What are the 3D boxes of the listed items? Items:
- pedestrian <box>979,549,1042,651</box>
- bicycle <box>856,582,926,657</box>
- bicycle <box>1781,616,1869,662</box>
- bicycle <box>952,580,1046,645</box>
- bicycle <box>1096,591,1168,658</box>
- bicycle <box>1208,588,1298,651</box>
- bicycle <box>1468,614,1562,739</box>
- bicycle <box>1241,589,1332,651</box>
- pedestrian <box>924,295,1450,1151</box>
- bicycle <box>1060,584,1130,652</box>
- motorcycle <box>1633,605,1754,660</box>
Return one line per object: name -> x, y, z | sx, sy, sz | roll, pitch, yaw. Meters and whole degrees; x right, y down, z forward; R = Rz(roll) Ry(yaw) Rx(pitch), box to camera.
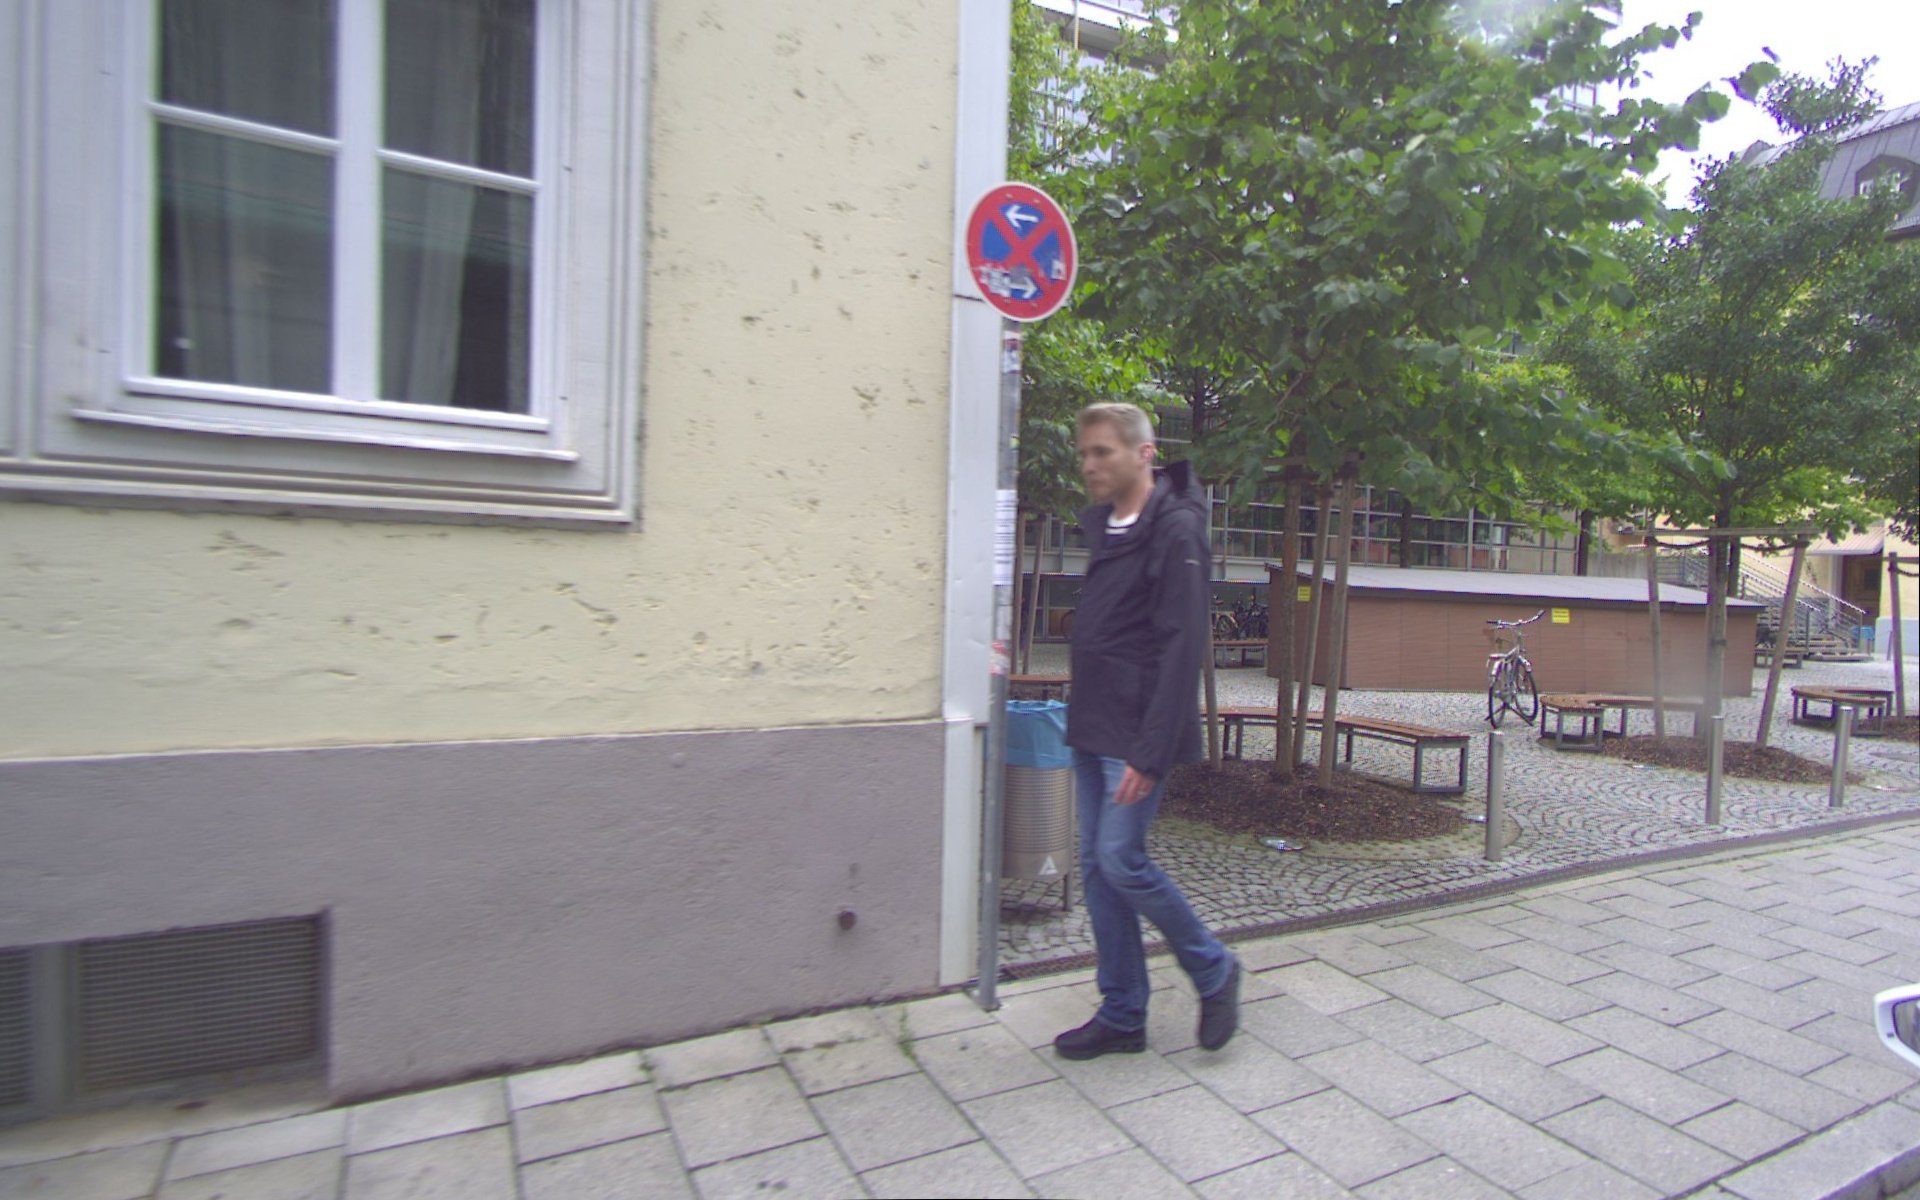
pedestrian -> 0.918, -0.007, 18.269 | 0.910, 1.801, 0.676 | 1, 2, -19
bicycle -> -1.236, 0.319, 17.678 | 0.680, 1.214, 1.773 | 1, 2, -22
bicycle -> 23.110, 1.029, 26.878 | 0.589, 1.083, 1.651 | 1, 2, -24
bicycle -> 0.778, 0.250, 19.760 | 1.757, 1.214, 0.549 | 1, 2, -23
bicycle -> 3.346, 0.456, 19.720 | 0.543, 1.214, 1.773 | 1, 2, -20
bicycle -> 5.953, 0.382, 20.540 | 0.643, 1.176, 1.985 | 1, 2, -21
bicycle -> 6.078, 0.776, 10.957 | 0.543, 1.214, 1.829 | 3, 2, 39
bicycle -> 6.759, 0.391, 20.894 | 0.643, 1.176, 1.985 | 1, 2, -21
pedestrian -> 0.617, 0.280, 2.885 | 1.121, 1.907, 0.864 | 1, 2, -29
bicycle -> 2.606, 0.326, 19.588 | 0.543, 1.214, 1.773 | 1, 2, -20
motorcycle -> 18.877, 0.807, 25.928 | 0.746, 1.261, 2.497 | 1, 2, -20
